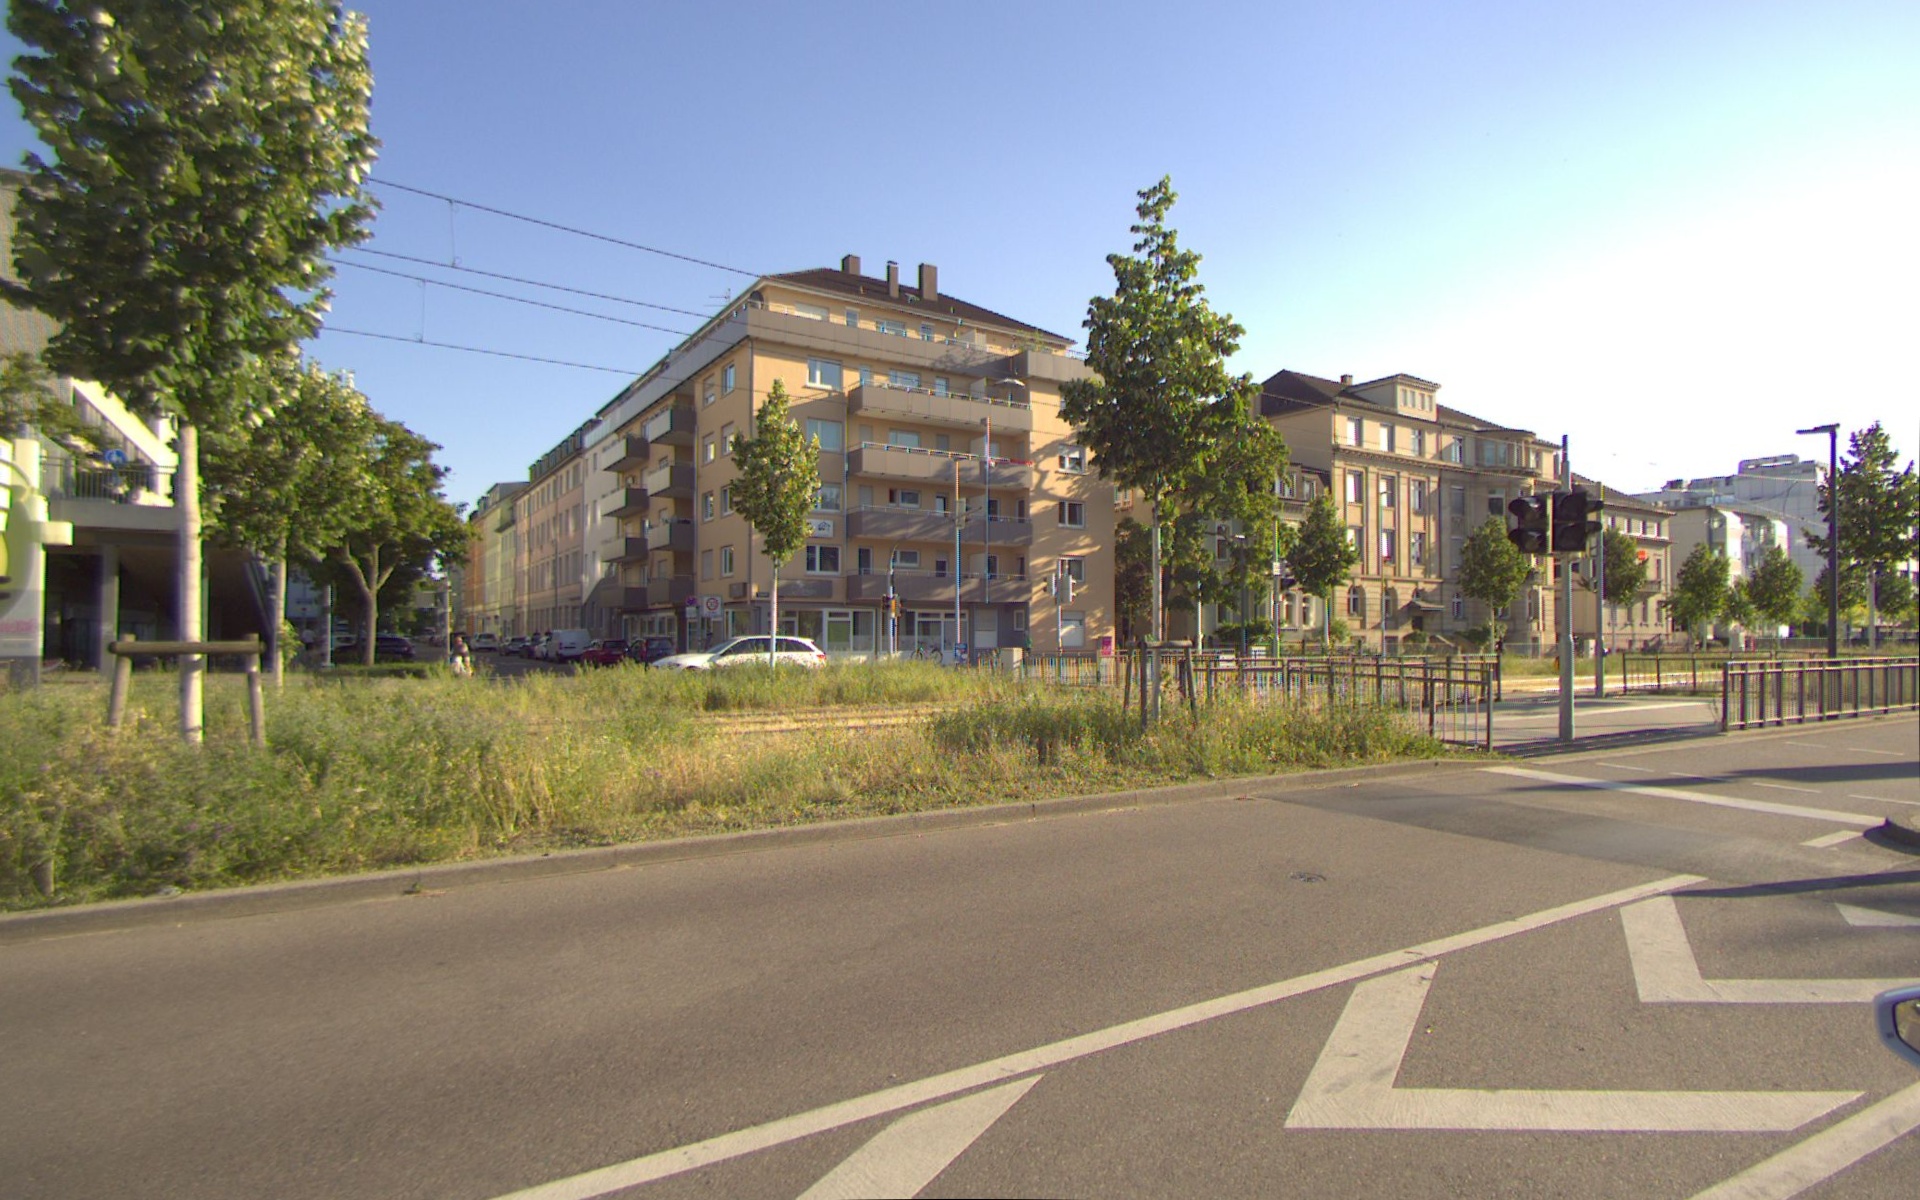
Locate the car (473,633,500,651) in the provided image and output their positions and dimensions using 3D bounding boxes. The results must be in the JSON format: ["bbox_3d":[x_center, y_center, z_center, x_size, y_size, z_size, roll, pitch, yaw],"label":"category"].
[{"bbox_3d":[-42.638,3.766,90.450,1.802,1.627,3.853,1,-2,-32],"label":"car"}]

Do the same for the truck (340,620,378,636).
[{"bbox_3d":[-87.363,4.065,146.069,4.573,2.197,1.804,2,-2,-36],"label":"truck"}]

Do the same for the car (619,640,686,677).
[{"bbox_3d":[-13.399,2.502,43.636,1.827,1.516,3.965,1,-2,-32],"label":"car"}]

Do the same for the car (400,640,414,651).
[{"bbox_3d":[-103.515,8.522,187.981,1.978,2.040,3.965,1,-2,-32],"label":"car"}]

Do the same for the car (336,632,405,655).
[{"bbox_3d":[-39.836,2.944,67.948,3.955,1.533,1.983,1,-2,-31],"label":"car"}]

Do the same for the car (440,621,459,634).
[{"bbox_3d":[-65.335,3.467,128.513,1.802,1.627,3.853,1,-2,-32],"label":"car"}]

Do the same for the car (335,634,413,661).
[{"bbox_3d":[-34.821,2.788,59.769,3.955,1.533,1.983,1,-2,-31],"label":"car"}]

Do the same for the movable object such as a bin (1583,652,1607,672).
[{"bbox_3d":[47.762,4.651,75.543,1.068,1.447,1.198,1,-2,-33],"label":"movable object such as a bin"}]

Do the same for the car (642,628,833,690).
[{"bbox_3d":[-5.814,1.507,26.459,4.613,1.482,1.766,2,-2,-34],"label":"car"}]

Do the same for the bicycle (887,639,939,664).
[{"bbox_3d":[-2.253,2.469,48.123,2.558,1.152,0.527,1,-2,-33],"label":"bicycle"}]

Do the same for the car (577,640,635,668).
[{"bbox_3d":[-17.897,2.693,50.702,1.978,1.321,3.966,1,-2,-32],"label":"car"}]

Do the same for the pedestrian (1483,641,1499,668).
[{"bbox_3d":[34.751,3.539,65.746,0.646,1.743,0.652,1,-2,-33],"label":"pedestrian"}]

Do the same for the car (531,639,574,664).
[{"bbox_3d":[-25.548,3.213,62.909,1.827,1.452,3.965,1,-2,-32],"label":"car"}]

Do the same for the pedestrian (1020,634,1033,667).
[{"bbox_3d":[3.187,2.398,48.166,0.444,1.576,0.516,1,-2,-34],"label":"pedestrian"}]

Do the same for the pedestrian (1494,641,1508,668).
[{"bbox_3d":[35.111,3.560,65.201,0.646,1.743,0.552,1,-2,-33],"label":"pedestrian"}]

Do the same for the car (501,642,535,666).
[{"bbox_3d":[-32.911,3.993,74.724,1.802,1.627,3.853,1,-2,-32],"label":"car"}]

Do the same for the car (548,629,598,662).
[{"bbox_3d":[-22.327,2.588,57.815,1.978,1.766,3.966,1,-2,-32],"label":"car"}]
